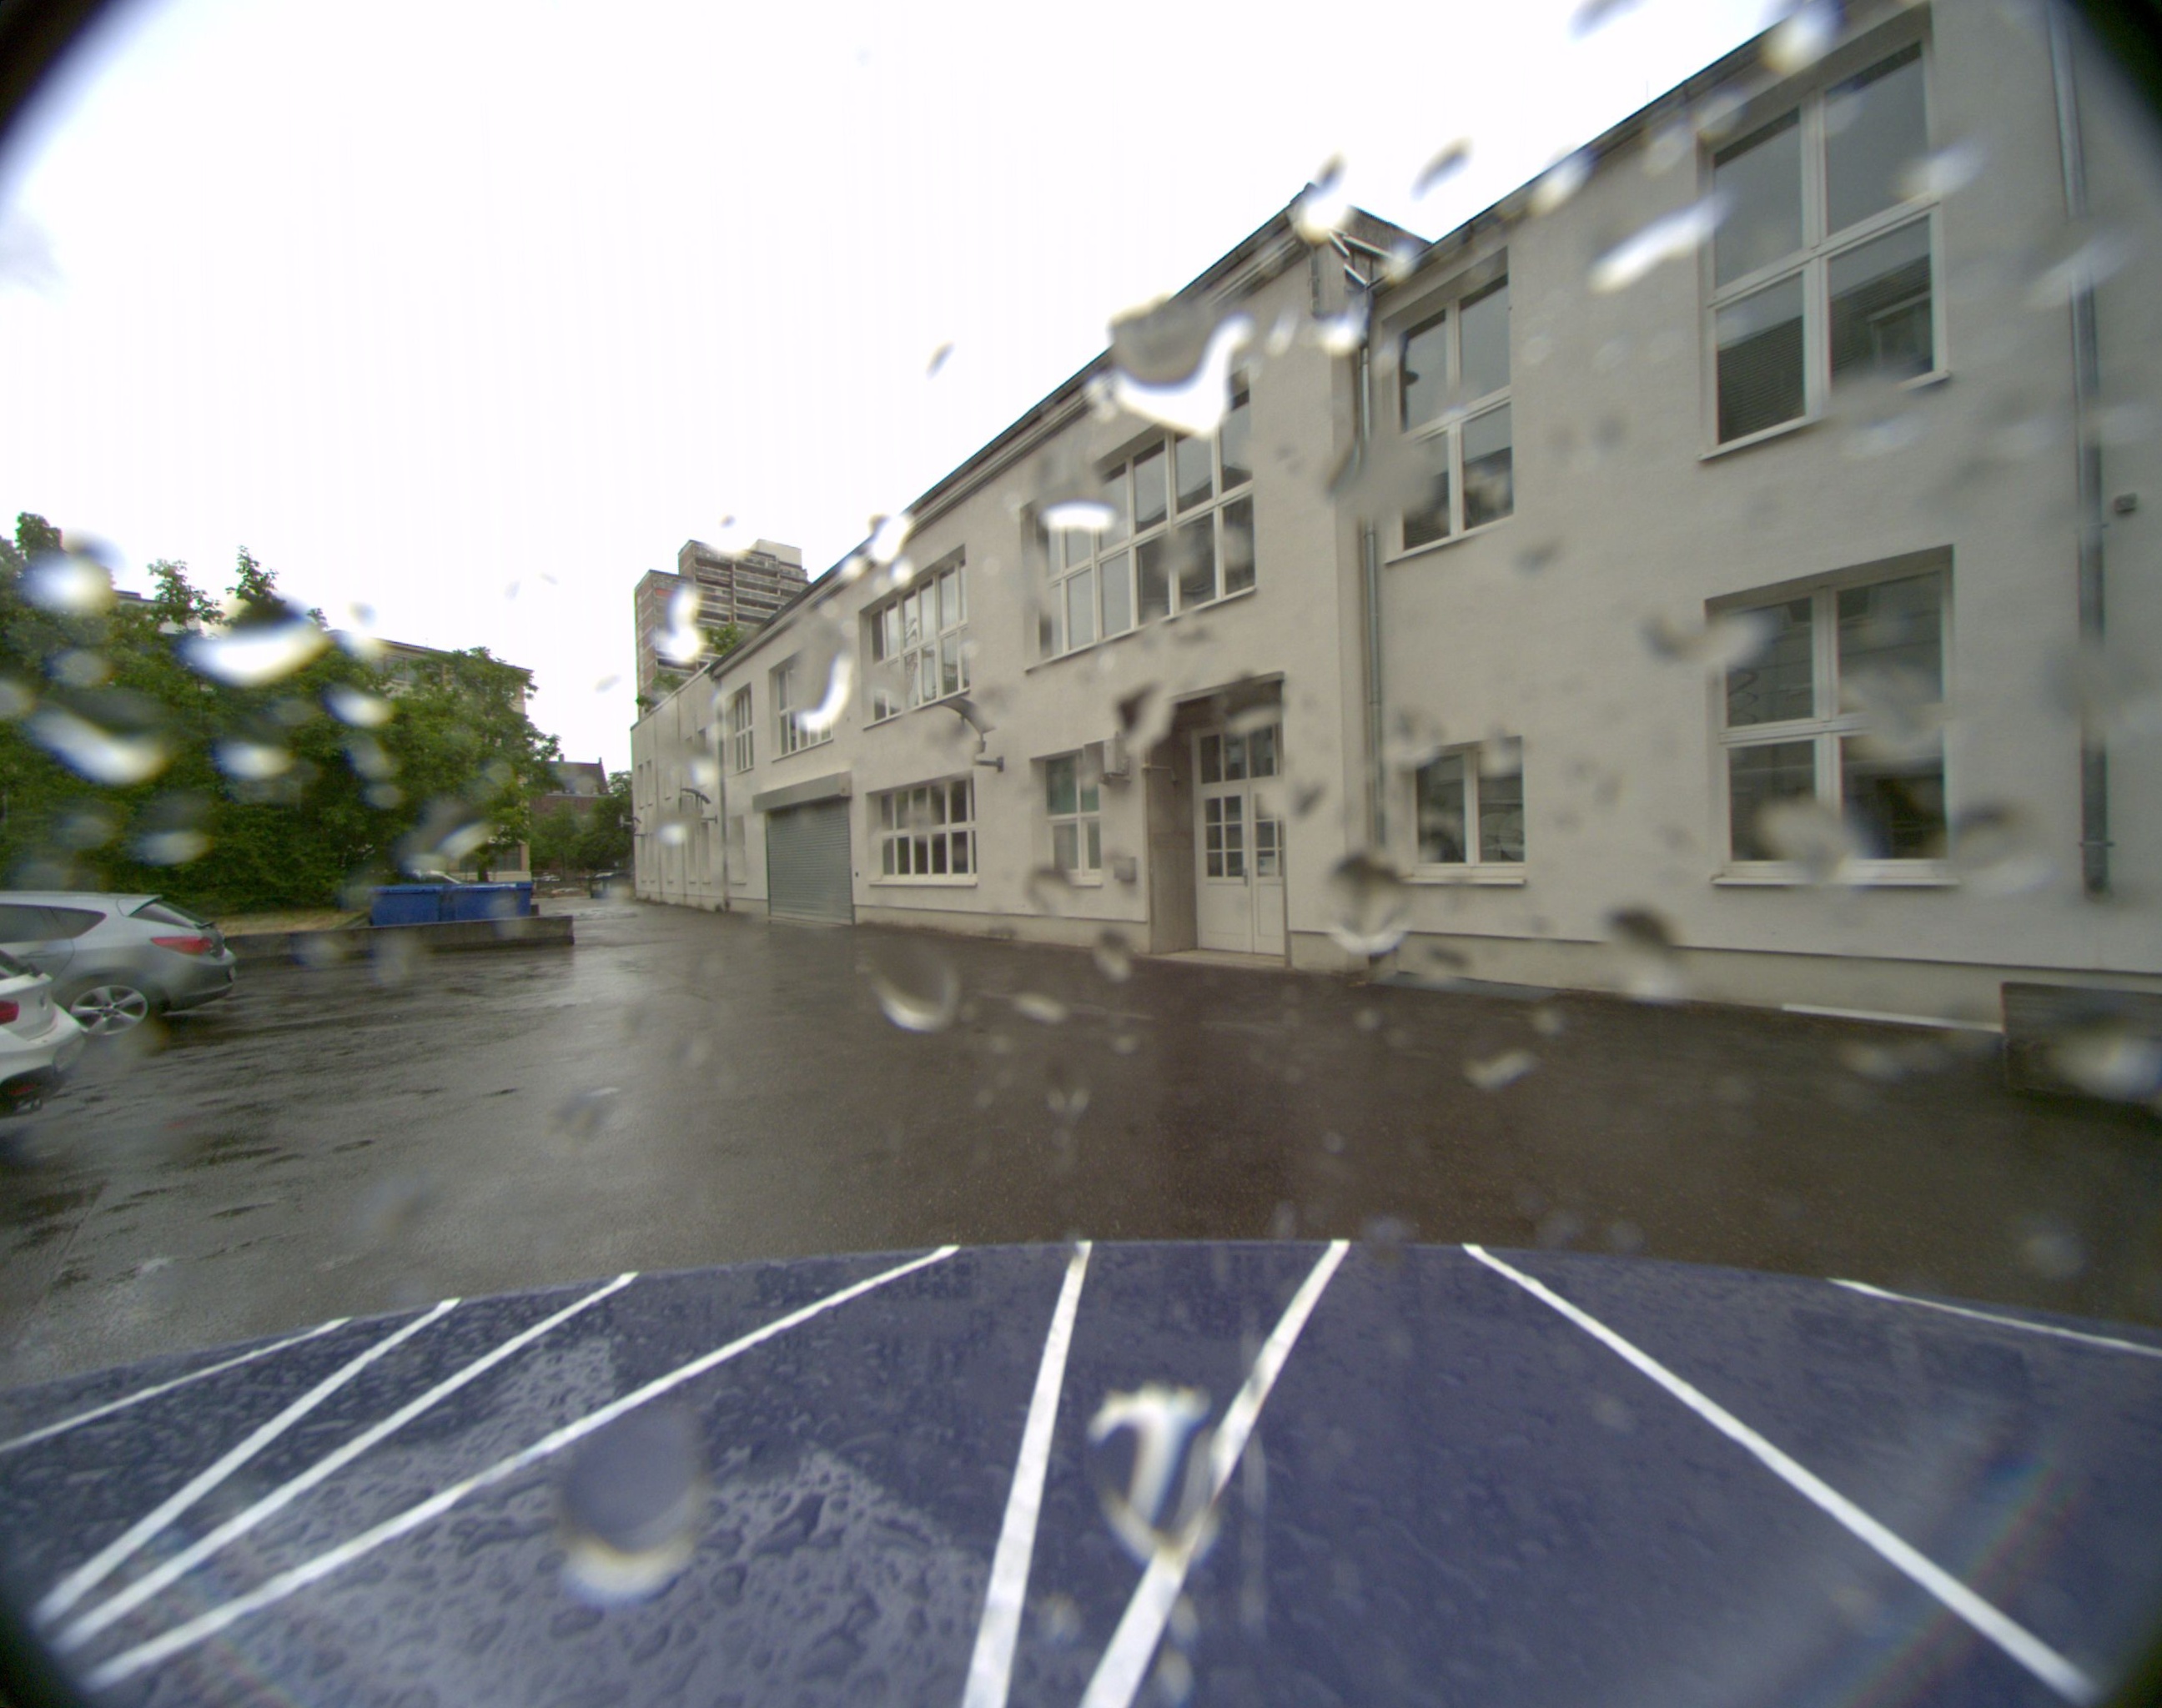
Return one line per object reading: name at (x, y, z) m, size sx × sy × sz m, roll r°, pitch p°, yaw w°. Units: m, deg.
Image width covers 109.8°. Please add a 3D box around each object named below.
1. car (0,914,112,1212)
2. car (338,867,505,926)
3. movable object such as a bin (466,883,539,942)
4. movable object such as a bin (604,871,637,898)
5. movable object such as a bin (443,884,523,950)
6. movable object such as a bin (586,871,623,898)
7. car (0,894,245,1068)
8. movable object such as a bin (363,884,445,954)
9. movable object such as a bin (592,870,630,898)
car at (-7.744, 1.185, 3.207) m, size 4.229 × 1.481 × 1.995 m, roll -2°, pitch 0°, yaw -44°
car at (-25.633, 1.649, 29.796) m, size 4.706 × 1.870 × 2.118 m, roll -4°, pitch -1°, yaw -38°
movable object such as a bin at (-14.873, 1.484, 19.513) m, size 1.316 × 1.350 × 1.900 m, roll -4°, pitch 0°, yaw -40°
movable object such as a bin at (-25.468, 1.692, 42.000) m, size 1.310 × 1.366 × 1.190 m, roll -4°, pitch 0°, yaw 45°
movable object such as a bin at (-13.993, 1.447, 17.755) m, size 1.316 × 1.350 × 1.900 m, roll -4°, pitch 0°, yaw -40°
movable object such as a bin at (-27.587, 1.757, 44.010) m, size 1.310 × 1.440 × 1.495 m, roll -4°, pitch 0°, yaw 45°
car at (-11.048, 1.250, 7.062) m, size 4.229 × 1.481 × 1.995 m, roll -2°, pitch 0°, yaw -44°
movable object such as a bin at (-15.004, 1.416, 16.896) m, size 1.236 × 1.350 × 1.966 m, roll -4°, pitch 0°, yaw -40°
movable object such as a bin at (-26.649, 1.713, 43.045) m, size 1.310 × 1.440 × 1.495 m, roll -4°, pitch 0°, yaw 45°
